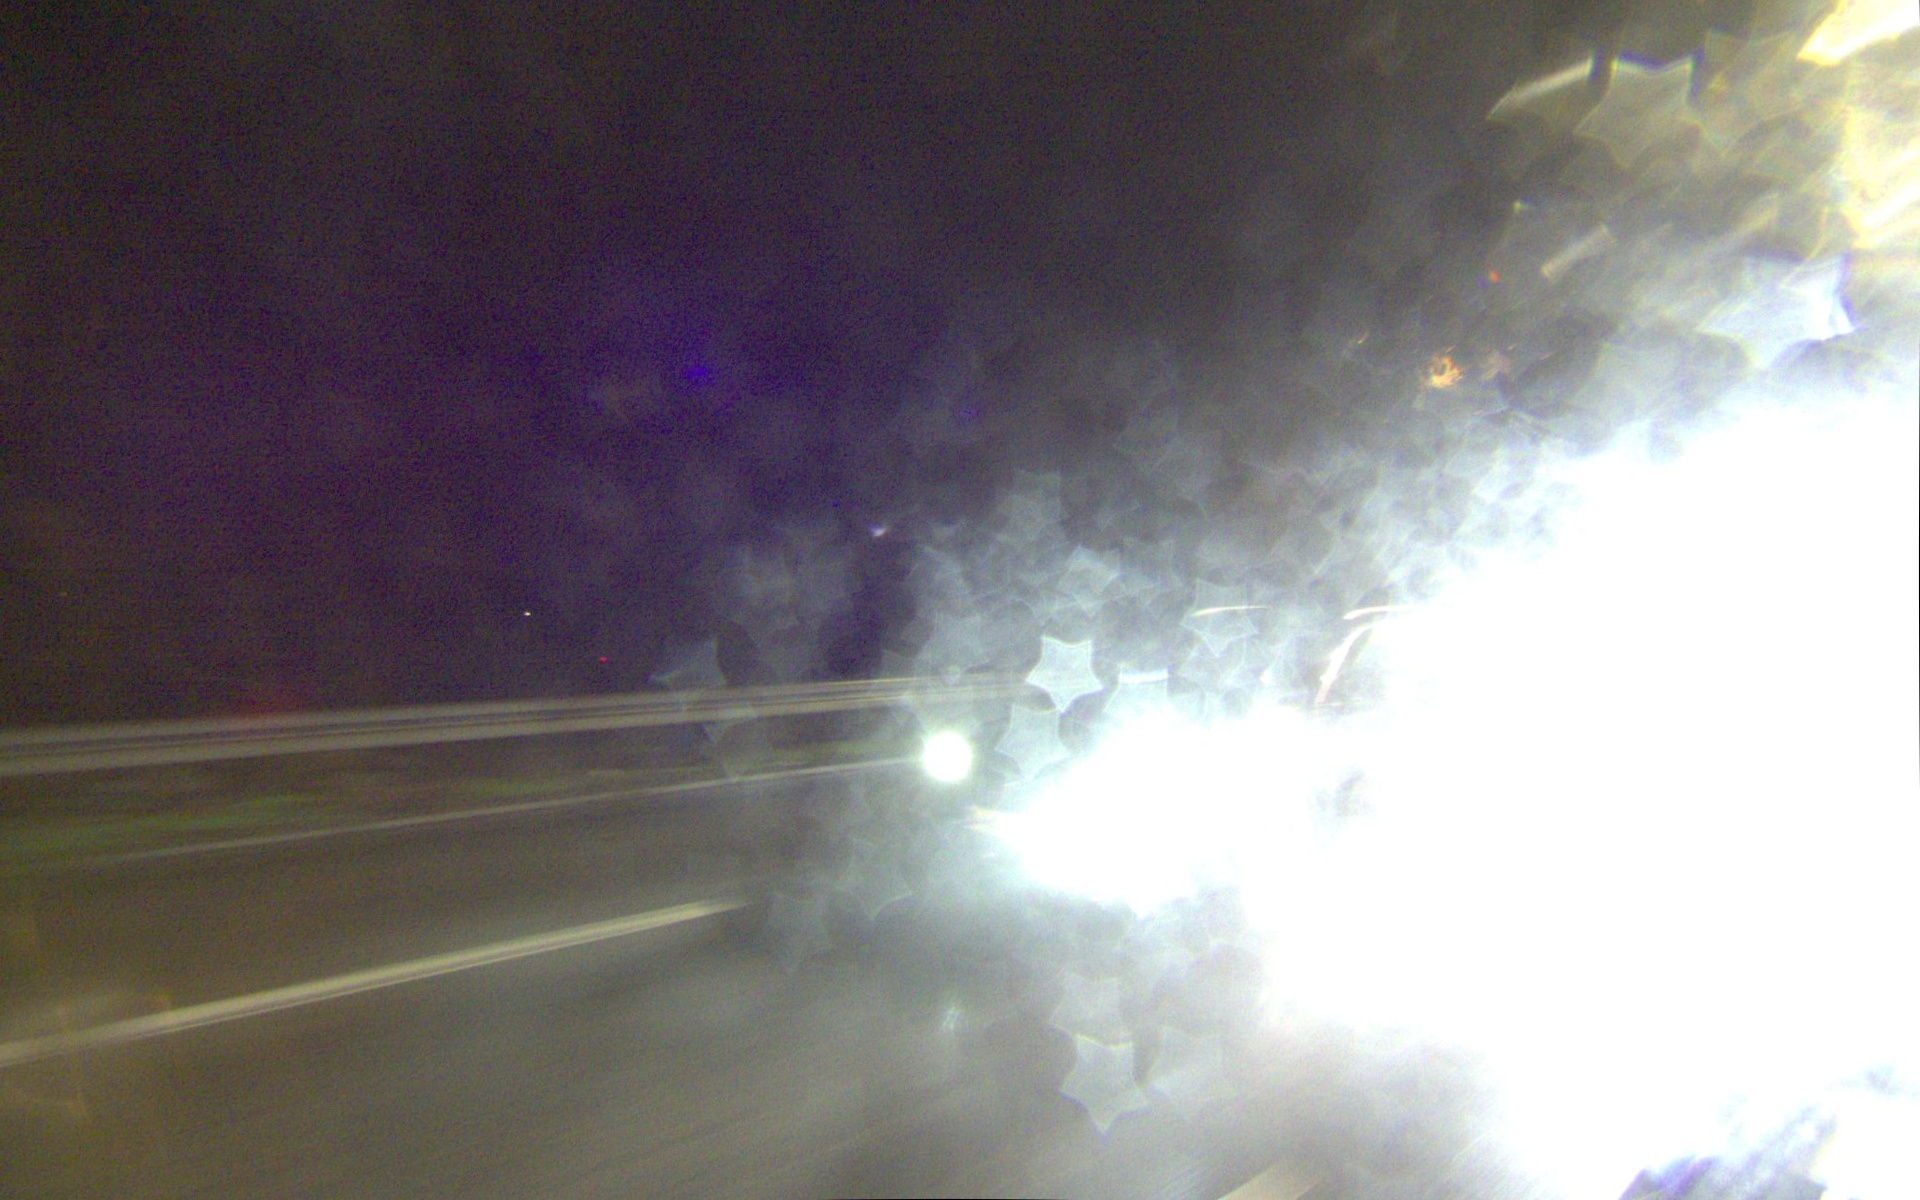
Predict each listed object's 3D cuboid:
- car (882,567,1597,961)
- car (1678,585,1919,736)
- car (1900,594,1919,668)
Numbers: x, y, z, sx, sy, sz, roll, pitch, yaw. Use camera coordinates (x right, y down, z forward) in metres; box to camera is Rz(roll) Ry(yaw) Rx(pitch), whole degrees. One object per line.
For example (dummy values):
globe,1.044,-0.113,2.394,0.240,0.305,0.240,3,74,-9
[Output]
car,1.883,0.680,5.973,4.475,1.526,1.677,0,-3,-37
car,10.736,0.620,12.548,4.332,1.541,1.711,-1,0,-37
car,20.753,0.563,20.508,4.063,1.435,1.743,-1,0,-36
